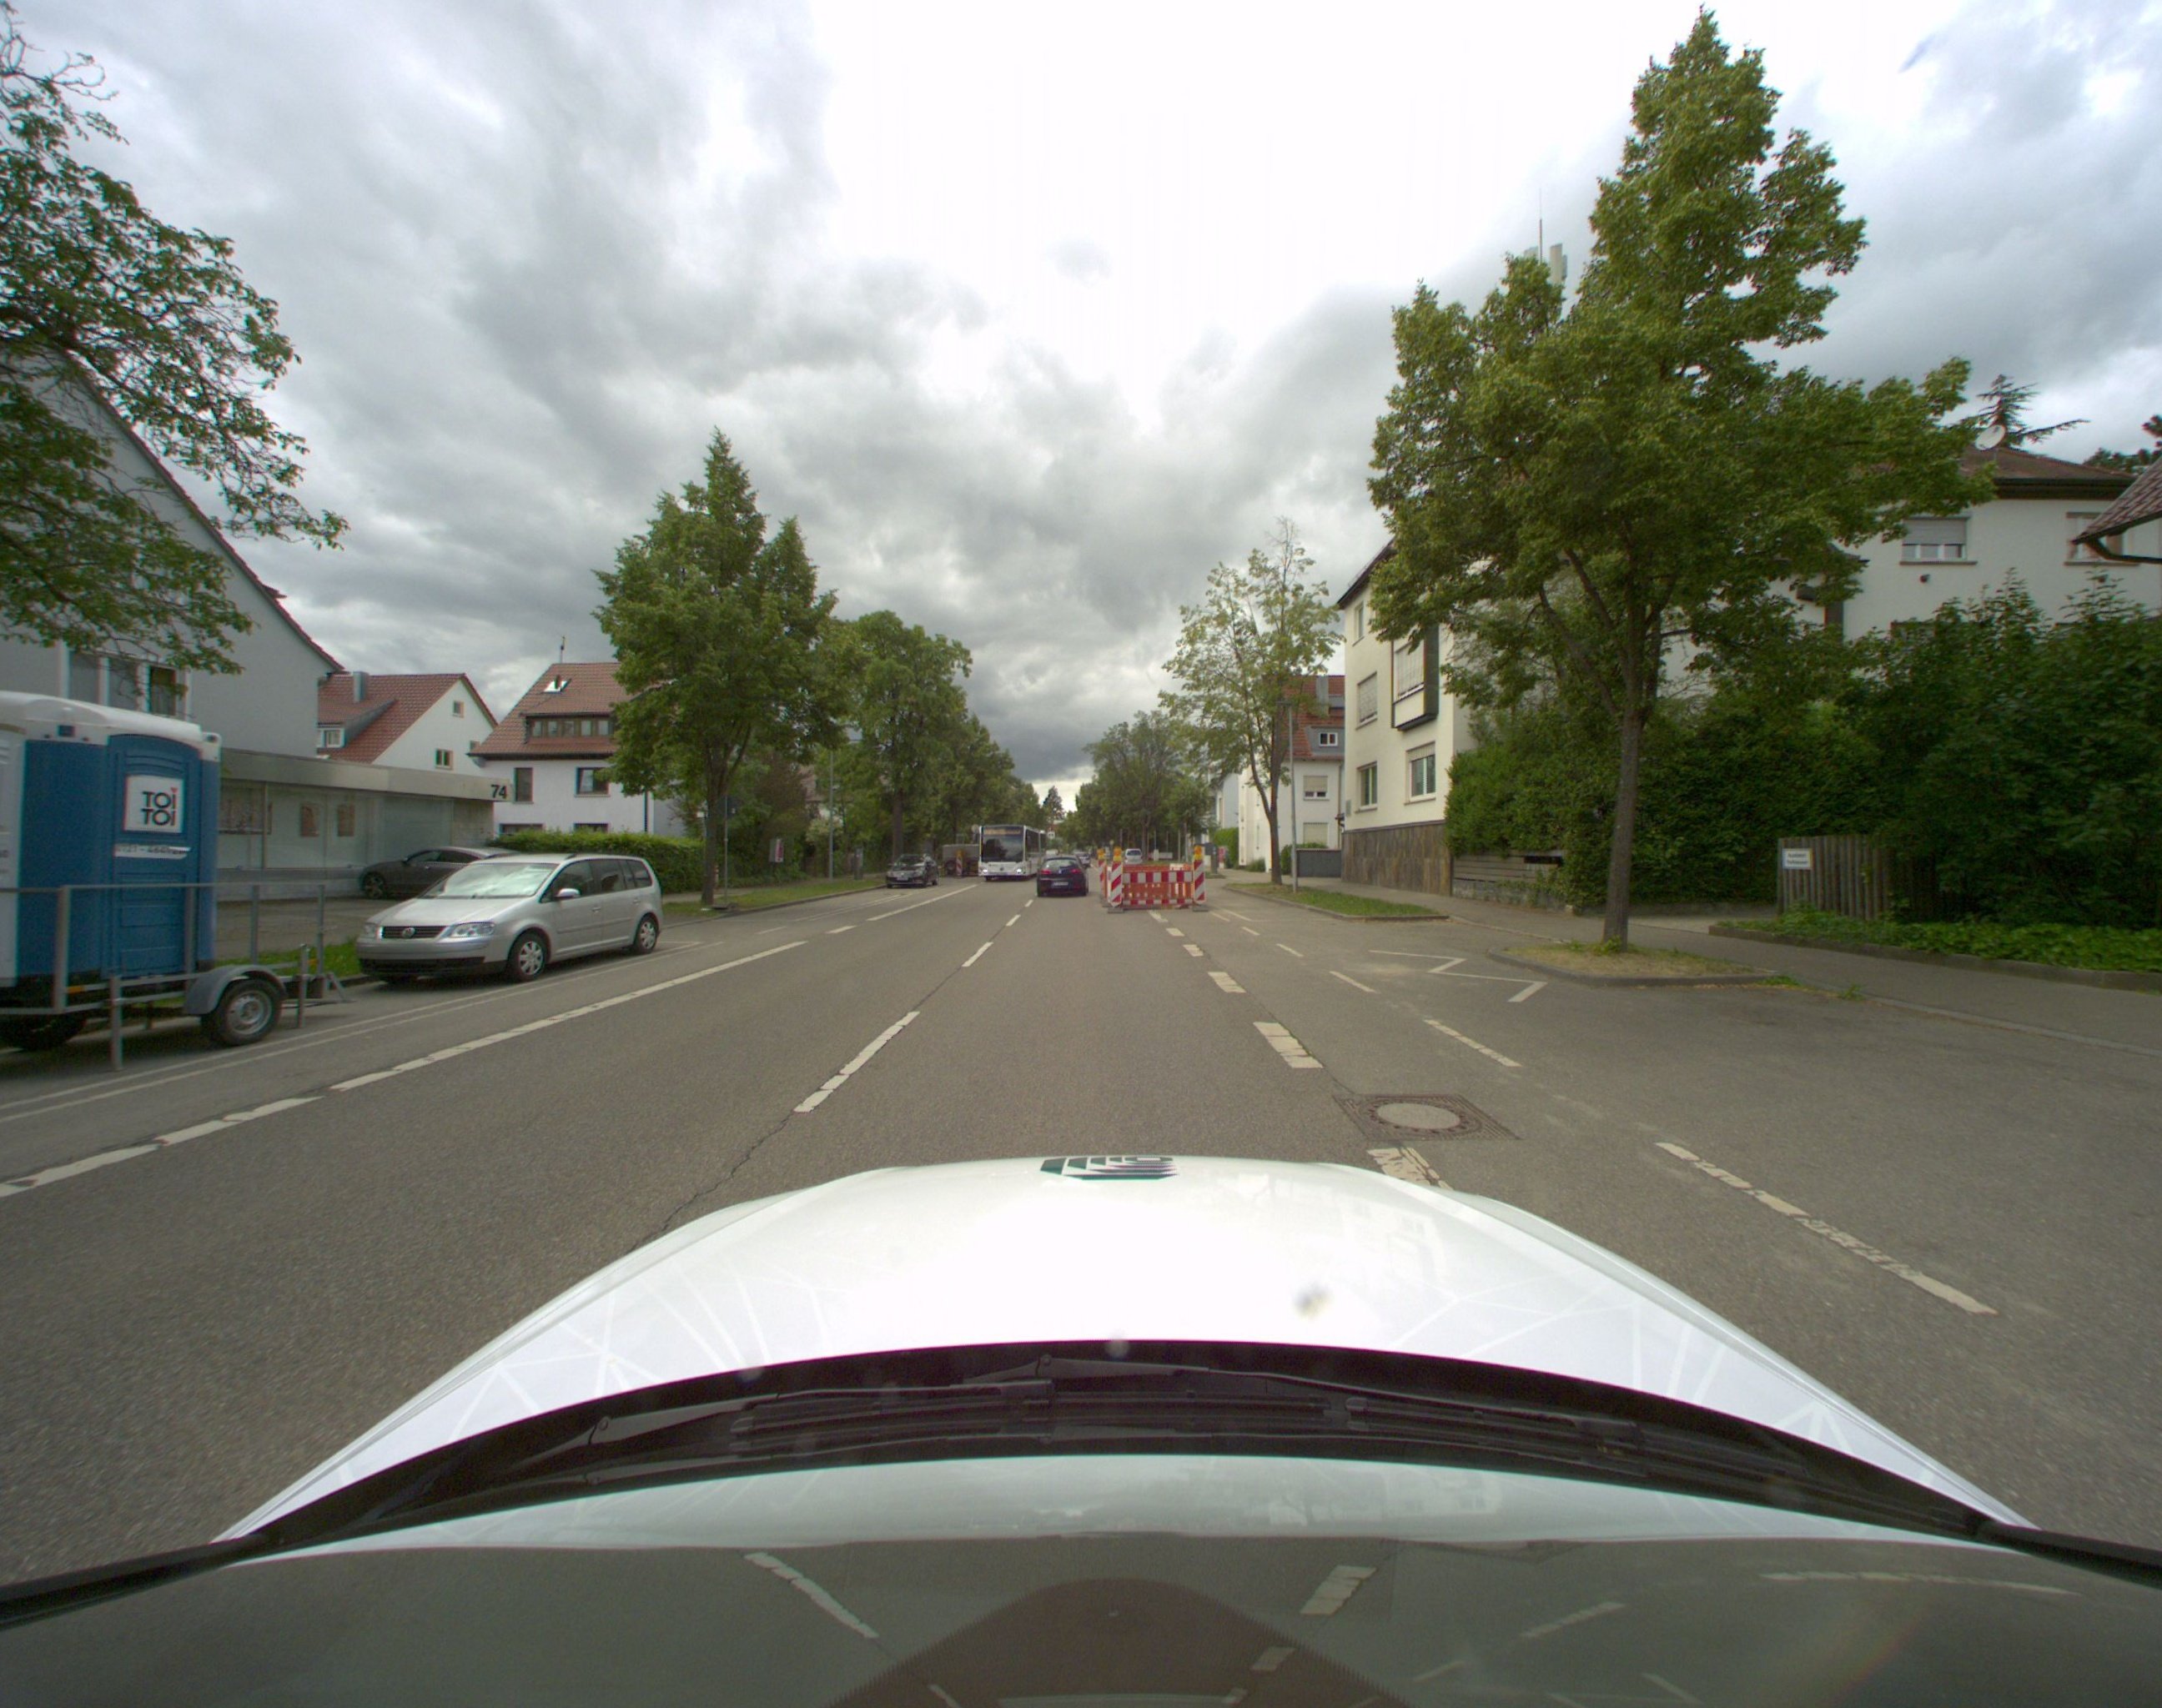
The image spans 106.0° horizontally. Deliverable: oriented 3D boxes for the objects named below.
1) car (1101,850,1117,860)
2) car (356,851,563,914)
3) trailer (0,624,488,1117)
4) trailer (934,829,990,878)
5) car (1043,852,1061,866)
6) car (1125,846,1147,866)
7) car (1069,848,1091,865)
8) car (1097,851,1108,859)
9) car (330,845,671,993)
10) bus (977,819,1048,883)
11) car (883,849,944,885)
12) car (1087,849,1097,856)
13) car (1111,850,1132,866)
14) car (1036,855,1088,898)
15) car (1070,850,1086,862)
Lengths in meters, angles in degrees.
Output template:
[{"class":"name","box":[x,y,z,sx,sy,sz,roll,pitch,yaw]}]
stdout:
[{"class":"car","box":[3.923,0.135,114.548,2.014,1.443,5.024,0,0,0]},{"class":"car","box":[-15.707,0.671,20.695,4.057,1.433,1.805,1,1,7]},{"class":"trailer","box":[-7.664,0.111,5.075,2.361,2.963,7.019,-1,0,5]},{"class":"trailer","box":[-7.577,-0.008,52.850,2.666,2.941,7.471,0,0,-1]},{"class":"car","box":[-3.664,0.647,102.282,1.987,1.667,4.590,-2,0,1]},{"class":"car","box":[4.791,0.172,70.927,1.627,1.665,3.647,-1,0,-1]},{"class":"car","box":[-0.060,0.242,77.217,1.986,1.558,4.001,0,0,1]},{"class":"car","box":[3.549,0.162,134.840,1.632,1.420,4.001,-1,0,1]},{"class":"car","box":[-7.690,0.756,11.406,1.683,1.684,4.226,0,0,1]},{"class":"bus","box":[-3.898,-0.087,51.080,2.795,3.288,18.044,0,0,1]},{"class":"car","box":[-7.702,0.628,37.853,1.854,1.553,4.618,0,-2,0]},{"class":"car","box":[2.214,-0.230,169.812,1.681,1.432,4.036,-1,0,-6]},{"class":"car","box":[3.787,0.356,76.638,1.682,1.493,4.225,-1,0,-1]},{"class":"car","box":[-0.728,0.779,29.547,1.779,1.449,3.554,0,0,-3]},{"class":"car","box":[-0.431,0.288,111.815,1.989,1.530,3.996,-1,0,-3]}]
